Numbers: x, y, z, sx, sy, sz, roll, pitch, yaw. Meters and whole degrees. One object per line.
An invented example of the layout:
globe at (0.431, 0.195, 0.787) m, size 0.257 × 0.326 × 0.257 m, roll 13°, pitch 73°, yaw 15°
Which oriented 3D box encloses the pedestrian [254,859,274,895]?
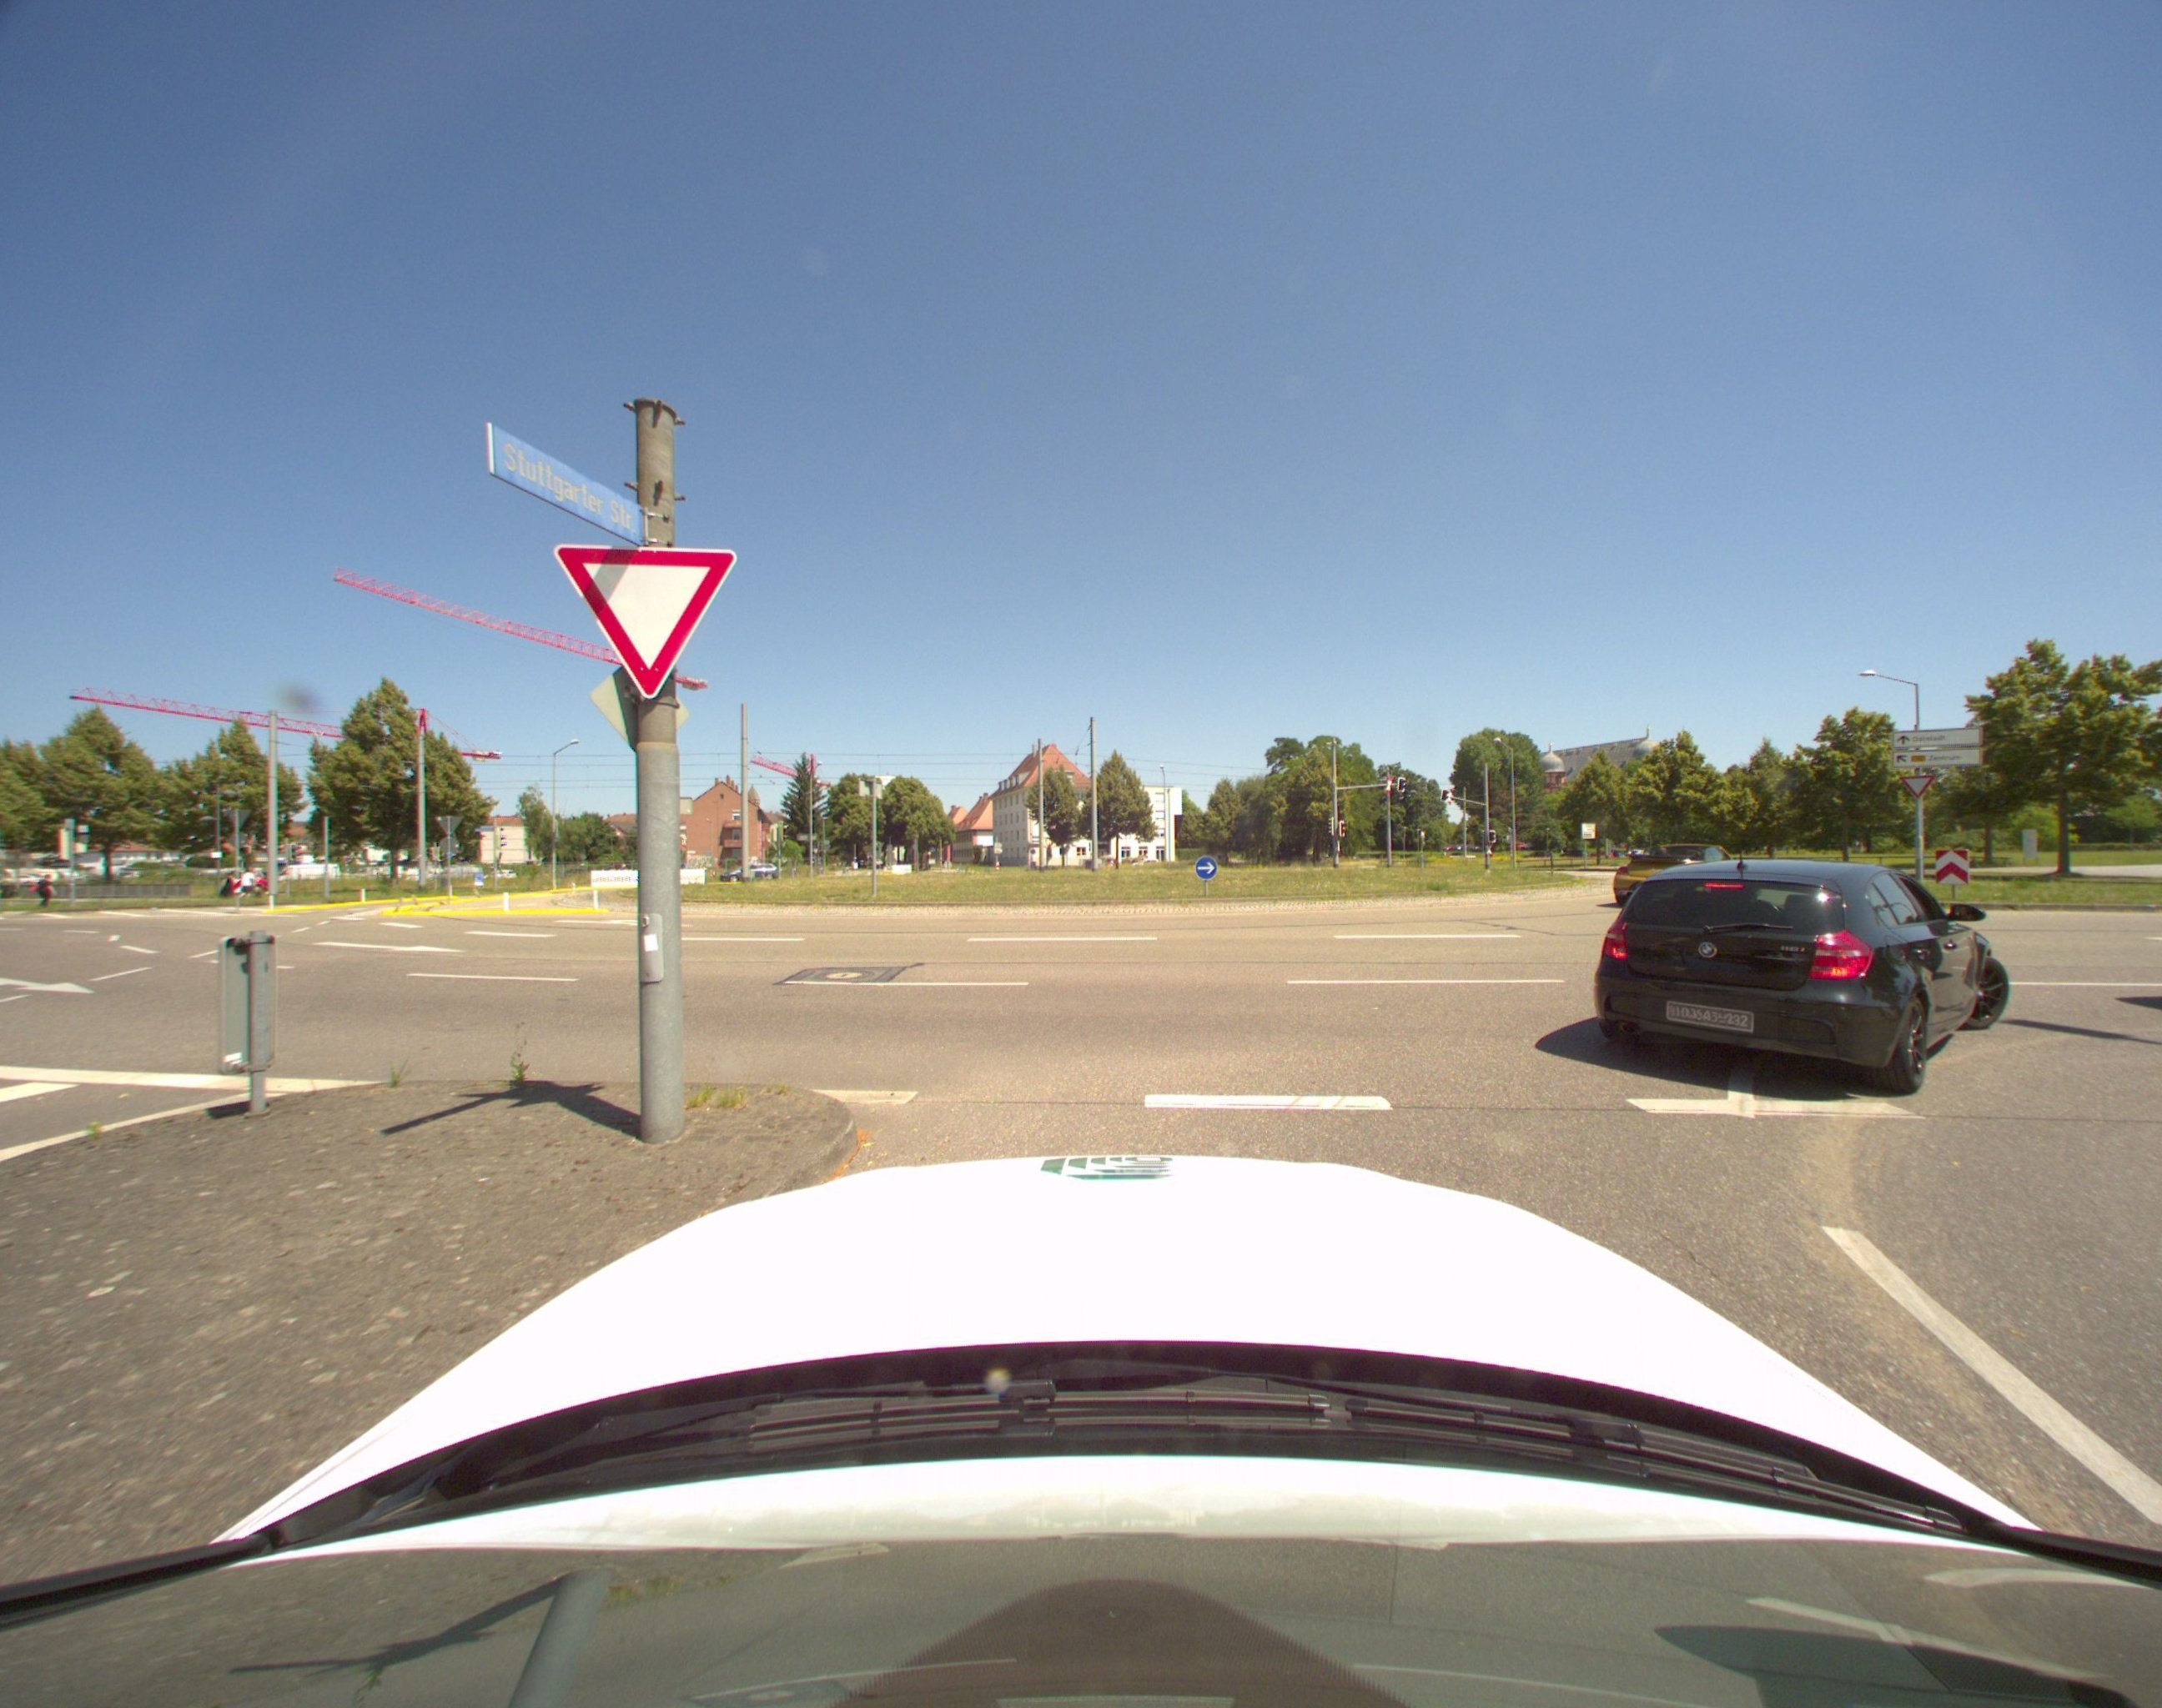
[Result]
pedestrian at (-44.456, 1.244, 44.343) m, size 0.632 × 1.934 × 0.639 m, roll -1°, pitch 0°, yaw -34°

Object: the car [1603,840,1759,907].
car at (13.962, 0.416, 18.904) m, size 3.676 × 1.403 × 1.812 m, roll 0°, pitch 0°, yaw -34°

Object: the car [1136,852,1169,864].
car at (9.340, 0.540, 106.365) m, size 3.891 × 1.420 × 1.709 m, roll 1°, pitch -1°, yaw -13°

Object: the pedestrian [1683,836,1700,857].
pedestrian at (43.342, -0.506, 57.800) m, size 0.713 × 1.451 × 0.808 m, roll 1°, pitch -1°, yaw -42°

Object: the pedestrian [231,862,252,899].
pedestrian at (-44.864, 1.406, 43.509) m, size 0.632 × 1.934 × 0.639 m, roll -1°, pitch 0°, yaw -34°

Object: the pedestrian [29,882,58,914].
pedestrian at (-46.748, 1.968, 36.707) m, size 0.539 × 1.406 × 0.598 m, roll -1°, pitch 0°, yaw 3°

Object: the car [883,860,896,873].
car at (-31.541, 2.035, 134.244) m, size 1.995 × 2.014 × 3.982 m, roll 1°, pitch -1°, yaw -13°

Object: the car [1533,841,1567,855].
car at (67.974, -0.846, 117.997) m, size 3.948 × 2.014 × 2.012 m, roll 0°, pitch -1°, yaw 39°

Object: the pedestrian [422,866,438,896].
pedestrian at (-43.809, 1.806, 54.800) m, size 0.599 × 2.014 × 0.594 m, roll 1°, pitch -1°, yaw 0°

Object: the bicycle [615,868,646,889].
bicycle at (-36.578, 1.970, 66.116) m, size 0.553 × 1.685 × 2.099 m, roll 0°, pitch -1°, yaw 40°

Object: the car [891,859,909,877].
car at (-20.912, 1.610, 94.077) m, size 1.995 × 2.014 × 3.982 m, roll 1°, pitch -1°, yaw -13°

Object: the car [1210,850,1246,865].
car at (18.017, 0.452, 100.001) m, size 3.990 × 1.684 × 1.991 m, roll 1°, pitch -1°, yaw -13°

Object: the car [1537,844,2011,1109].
car at (5.540, 0.667, 6.392) m, size 4.015 × 1.440 × 1.784 m, roll -1°, pitch 1°, yaw -33°

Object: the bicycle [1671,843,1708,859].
bicycle at (43.264, -0.196, 57.937) m, size 0.733 × 1.115 × 2.034 m, roll 1°, pitch -1°, yaw -41°

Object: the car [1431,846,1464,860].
car at (51.727, -0.138, 114.920) m, size 3.948 × 2.014 × 2.012 m, roll 0°, pitch -1°, yaw 39°

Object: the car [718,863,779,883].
car at (-24.786, 1.421, 60.716) m, size 4.012 × 1.464 × 1.980 m, roll 1°, pitch -1°, yaw -31°

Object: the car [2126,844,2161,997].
car at (11.812, 0.583, 6.576) m, size 4.043 × 1.403 × 1.758 m, roll -1°, pitch 0°, yaw 9°

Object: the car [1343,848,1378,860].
car at (37.182, 0.043, 108.265) m, size 3.948 × 1.574 × 2.013 m, roll 0°, pitch -1°, yaw 36°

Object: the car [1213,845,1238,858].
car at (24.558, -0.434, 138.339) m, size 3.958 × 2.014 × 2.008 m, roll 0°, pitch -1°, yaw 15°

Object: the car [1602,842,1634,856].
car at (81.726, -0.789, 123.985) m, size 3.948 × 2.014 × 2.012 m, roll 0°, pitch -1°, yaw 39°

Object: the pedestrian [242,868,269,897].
pedestrian at (-47.152, 1.614, 46.528) m, size 0.773 × 1.640 × 0.763 m, roll 0°, pitch -1°, yaw 12°
